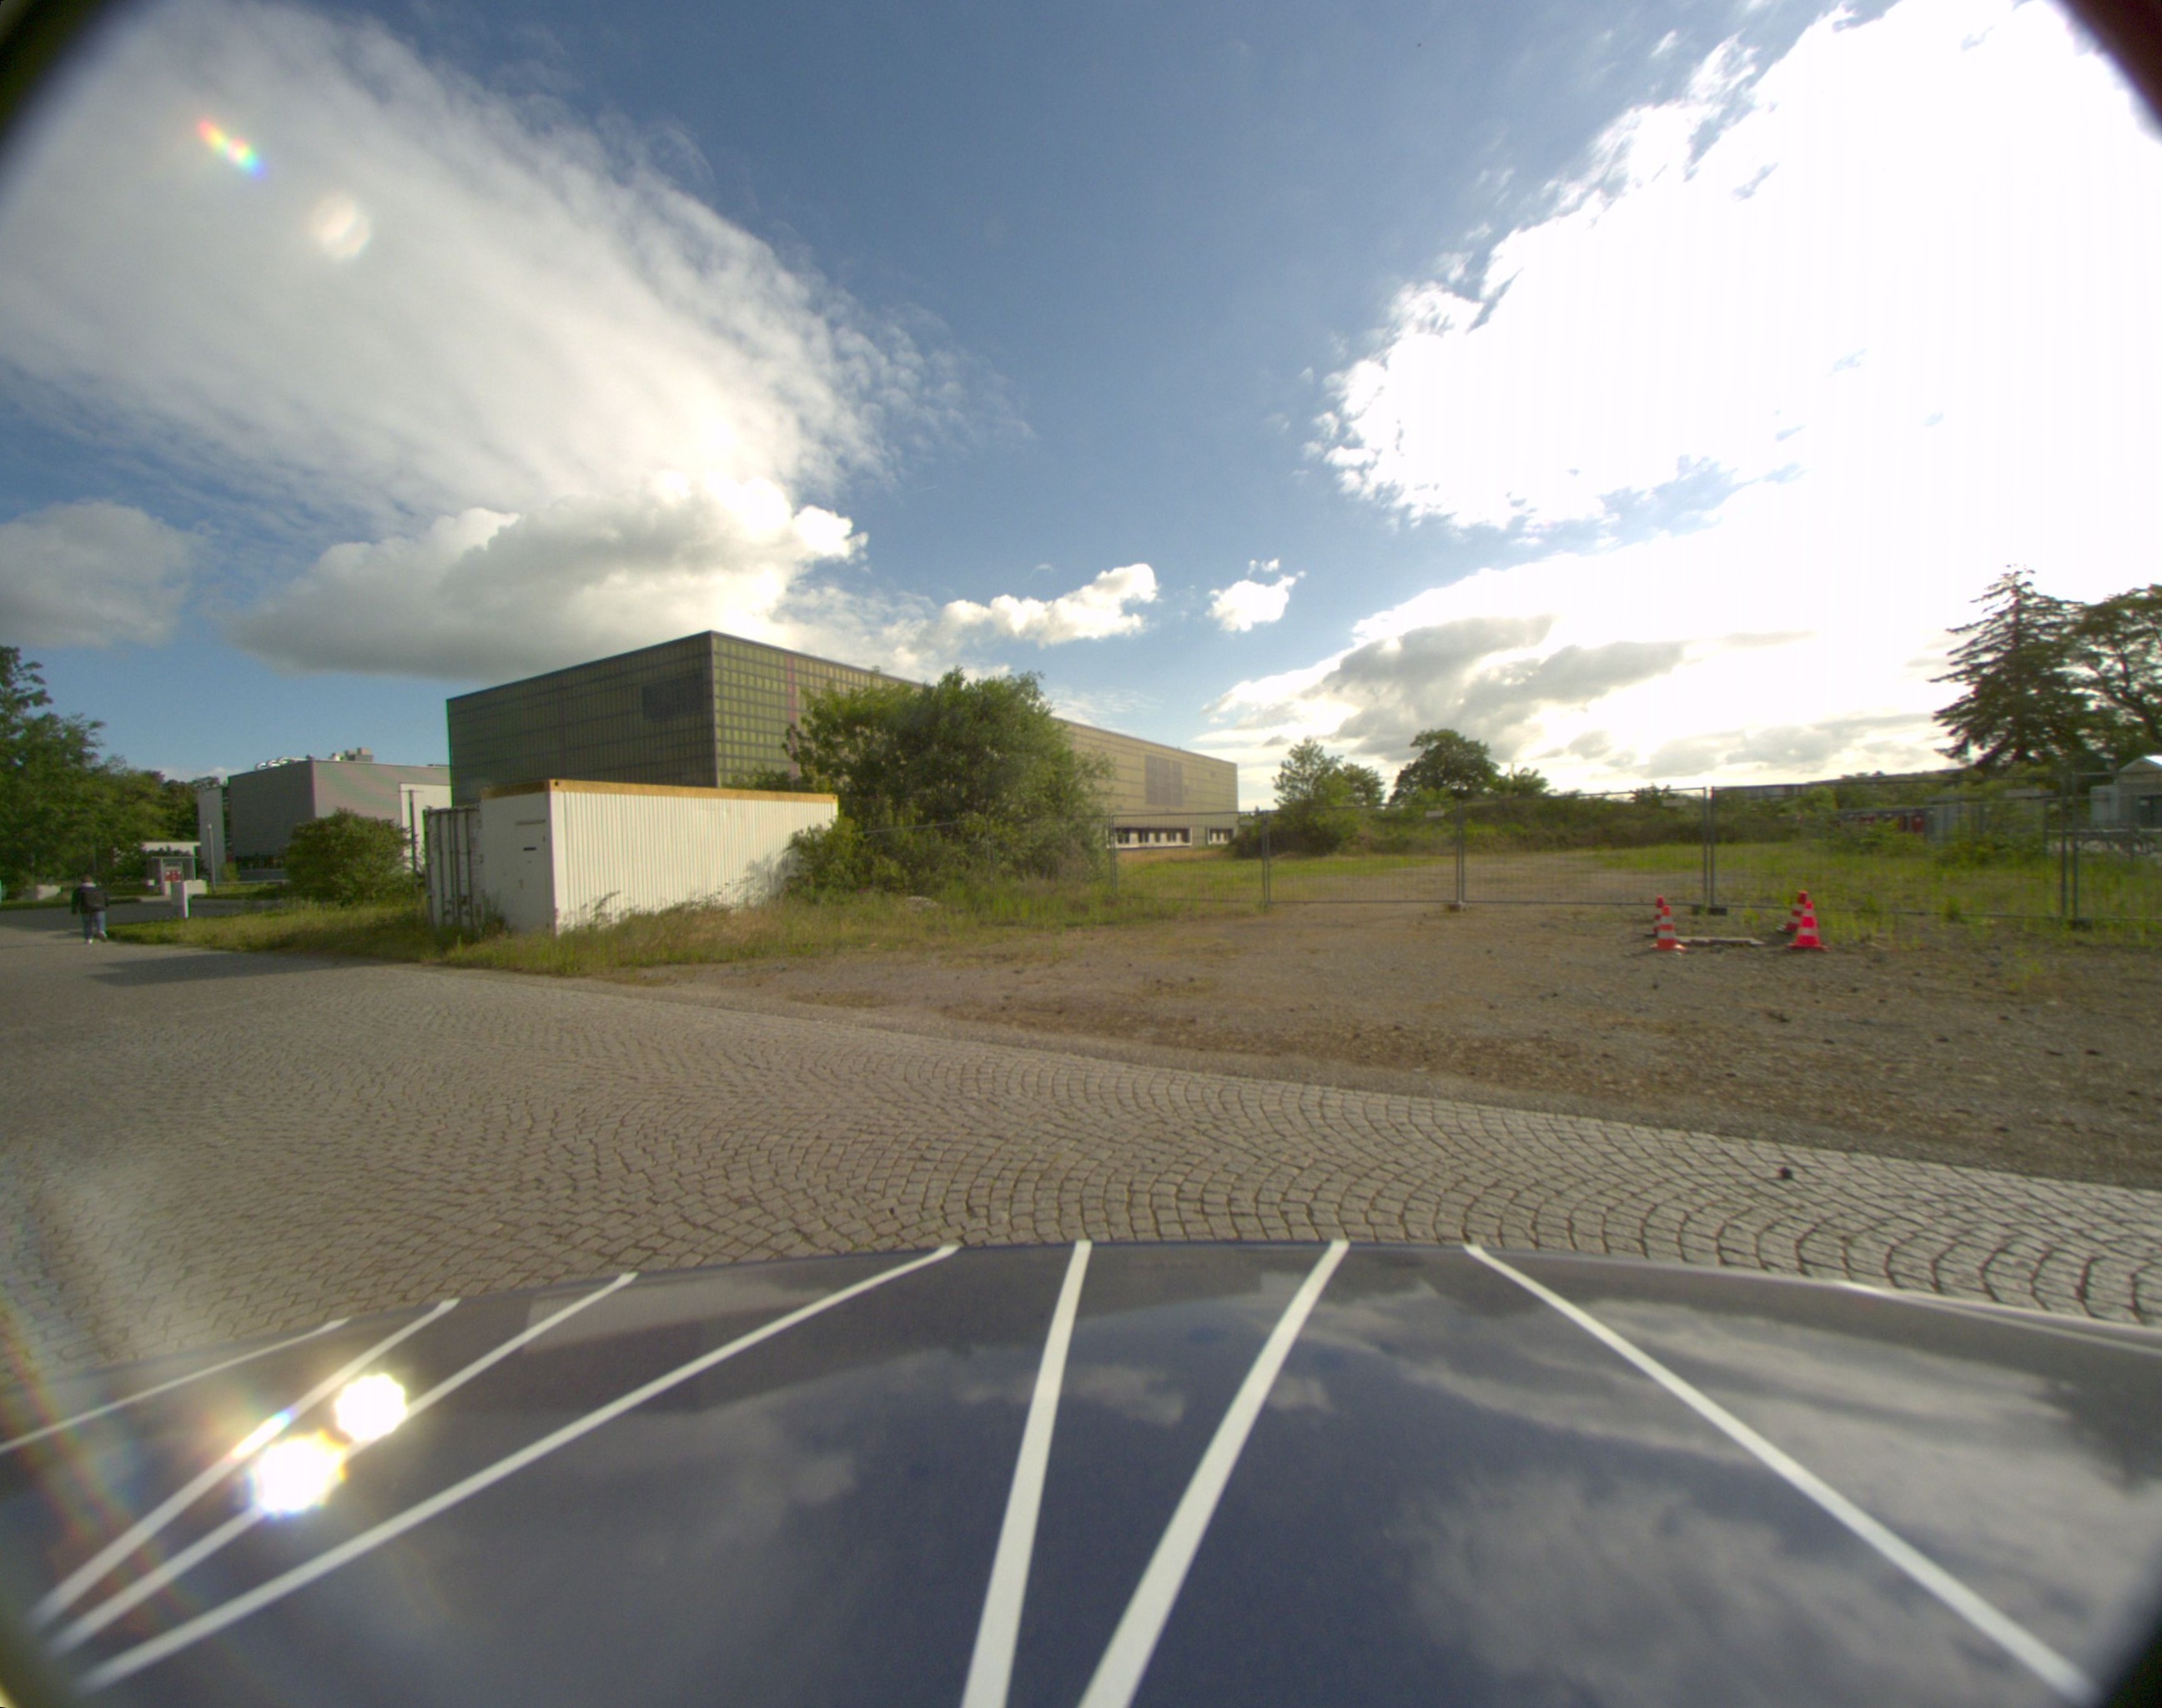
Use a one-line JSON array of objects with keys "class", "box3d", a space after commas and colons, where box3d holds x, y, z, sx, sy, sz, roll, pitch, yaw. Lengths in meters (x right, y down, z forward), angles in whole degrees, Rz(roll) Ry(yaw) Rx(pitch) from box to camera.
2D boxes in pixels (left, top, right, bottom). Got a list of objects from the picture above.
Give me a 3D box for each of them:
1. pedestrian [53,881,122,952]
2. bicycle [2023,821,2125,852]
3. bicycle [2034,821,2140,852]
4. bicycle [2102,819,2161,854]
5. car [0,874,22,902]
[{"class": "pedestrian", "box3d": [-23.427, 1.440, 17.939, 1.025, 1.550, 0.869, -1, 2, 41]}, {"class": "bicycle", "box3d": [36.567, -0.645, 28.028, 2.064, 1.038, 0.947, -1, 1, 28]}, {"class": "bicycle", "box3d": [35.959, -0.629, 27.203, 2.064, 1.038, 0.947, -1, 1, 28]}, {"class": "bicycle", "box3d": [34.400, -0.564, 24.195, 2.064, 1.081, 0.947, -1, 1, 28]}, {"class": "car", "box3d": [-66.614, 2.128, 45.279, 1.994, 1.633, 4.007, -1, 1, 35]}]
